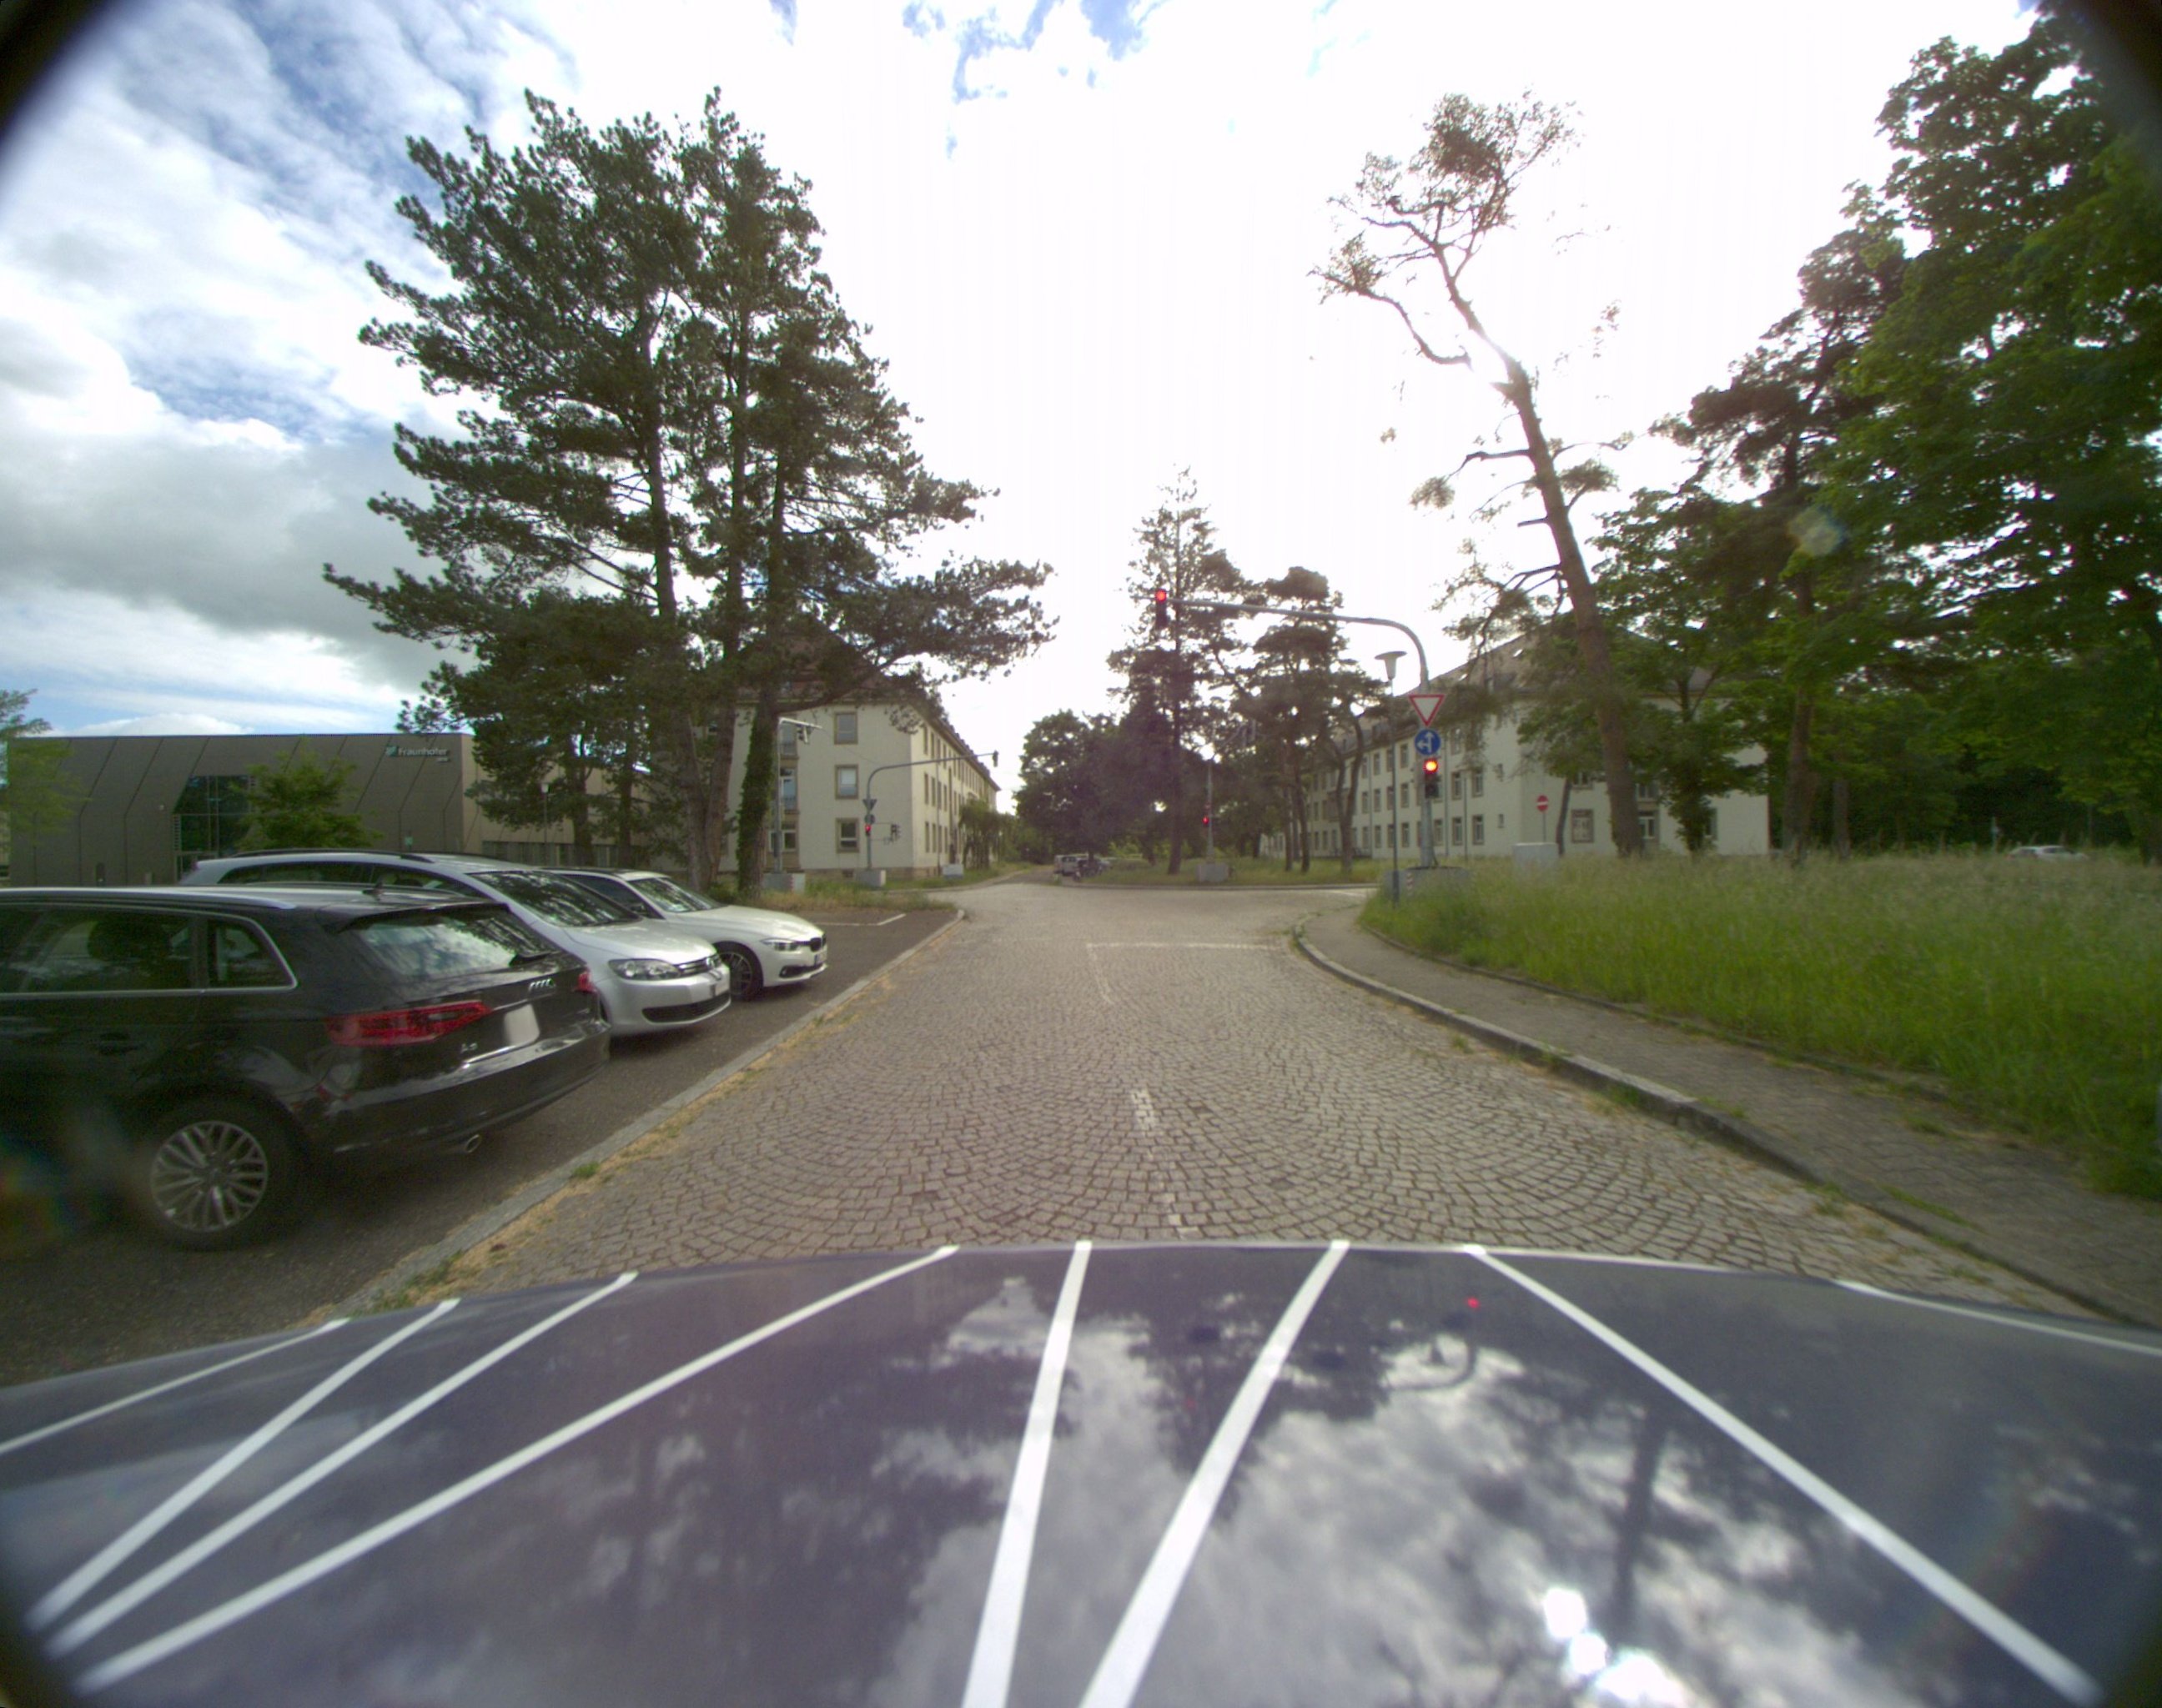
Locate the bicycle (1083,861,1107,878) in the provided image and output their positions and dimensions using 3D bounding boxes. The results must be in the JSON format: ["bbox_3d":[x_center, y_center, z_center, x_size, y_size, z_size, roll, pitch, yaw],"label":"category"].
[{"bbox_3d":[0.929,1.040,50.833,1.457,1.033,0.497,-4,1,-9],"label":"bicycle"}]

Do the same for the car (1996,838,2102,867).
[{"bbox_3d":[58.023,-0.129,45.593,4.054,1.601,1.716,-1,2,2],"label":"car"}]

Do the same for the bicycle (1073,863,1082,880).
[{"bbox_3d":[-0.223,1.099,49.411,0.497,1.032,1.416,-4,1,-2],"label":"bicycle"}]

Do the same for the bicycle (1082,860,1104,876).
[{"bbox_3d":[0.875,1.031,56.022,1.457,1.033,0.497,-4,1,-6],"label":"bicycle"}]

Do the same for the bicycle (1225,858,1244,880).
[{"bbox_3d":[7.816,0.751,38.697,0.497,1.068,1.416,-4,1,-4],"label":"bicycle"}]

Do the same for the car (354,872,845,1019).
[{"bbox_3d":[-5.363,1.016,9.013,4.563,1.417,1.826,2,1,-4],"label":"car"}]

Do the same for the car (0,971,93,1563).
[{"bbox_3d":[-4.548,0.992,1.065,3.783,1.471,1.742,2,-1,-4],"label":"car"}]

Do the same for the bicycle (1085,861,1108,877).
[{"bbox_3d":[1.072,1.052,52.668,1.457,1.033,0.497,-4,1,-6],"label":"bicycle"}]

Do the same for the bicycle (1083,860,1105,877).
[{"bbox_3d":[0.941,1.027,53.940,1.457,1.033,0.497,-4,1,-6],"label":"bicycle"}]

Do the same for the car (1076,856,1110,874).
[{"bbox_3d":[0.993,0.960,65.609,2.772,1.407,1.591,-3,0,-2],"label":"car"}]

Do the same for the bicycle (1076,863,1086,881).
[{"bbox_3d":[0.005,1.101,47.812,0.497,1.068,1.416,-4,1,-2],"label":"bicycle"}]

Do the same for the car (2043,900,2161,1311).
[{"bbox_3d":[6.078,0.884,2.178,4.340,1.462,1.827,-1,1,0],"label":"car"}]

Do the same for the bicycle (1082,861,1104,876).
[{"bbox_3d":[0.841,1.043,54.898,1.457,1.033,0.497,-4,1,-6],"label":"bicycle"}]

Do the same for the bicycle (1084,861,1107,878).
[{"bbox_3d":[0.971,1.051,51.630,1.457,1.033,0.497,-4,1,-6],"label":"bicycle"}]

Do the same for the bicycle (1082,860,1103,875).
[{"bbox_3d":[0.860,1.042,57.071,1.457,1.033,0.497,-4,1,-6],"label":"bicycle"}]

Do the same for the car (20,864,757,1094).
[{"bbox_3d":[-5.315,0.945,6.436,4.343,1.565,1.826,2,1,-6],"label":"car"}]

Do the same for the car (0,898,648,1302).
[{"bbox_3d":[-4.882,1.000,3.759,4.378,1.397,1.796,2,-1,-3],"label":"car"}]

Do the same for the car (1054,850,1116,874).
[{"bbox_3d":[0.332,0.743,68.929,5.173,1.905,2.033,-3,0,-15],"label":"car"}]

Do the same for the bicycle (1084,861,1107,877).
[{"bbox_3d":[1.028,1.043,53.252,1.457,1.033,0.497,-4,1,-6],"label":"bicycle"}]

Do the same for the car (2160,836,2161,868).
[{"bbox_3d":[57.498,-0.129,38.174,4.054,1.601,1.716,-1,2,1],"label":"car"}]

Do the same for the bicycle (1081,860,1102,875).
[{"bbox_3d":[0.793,1.047,57.544,1.457,1.033,0.497,-4,1,-6],"label":"bicycle"}]
